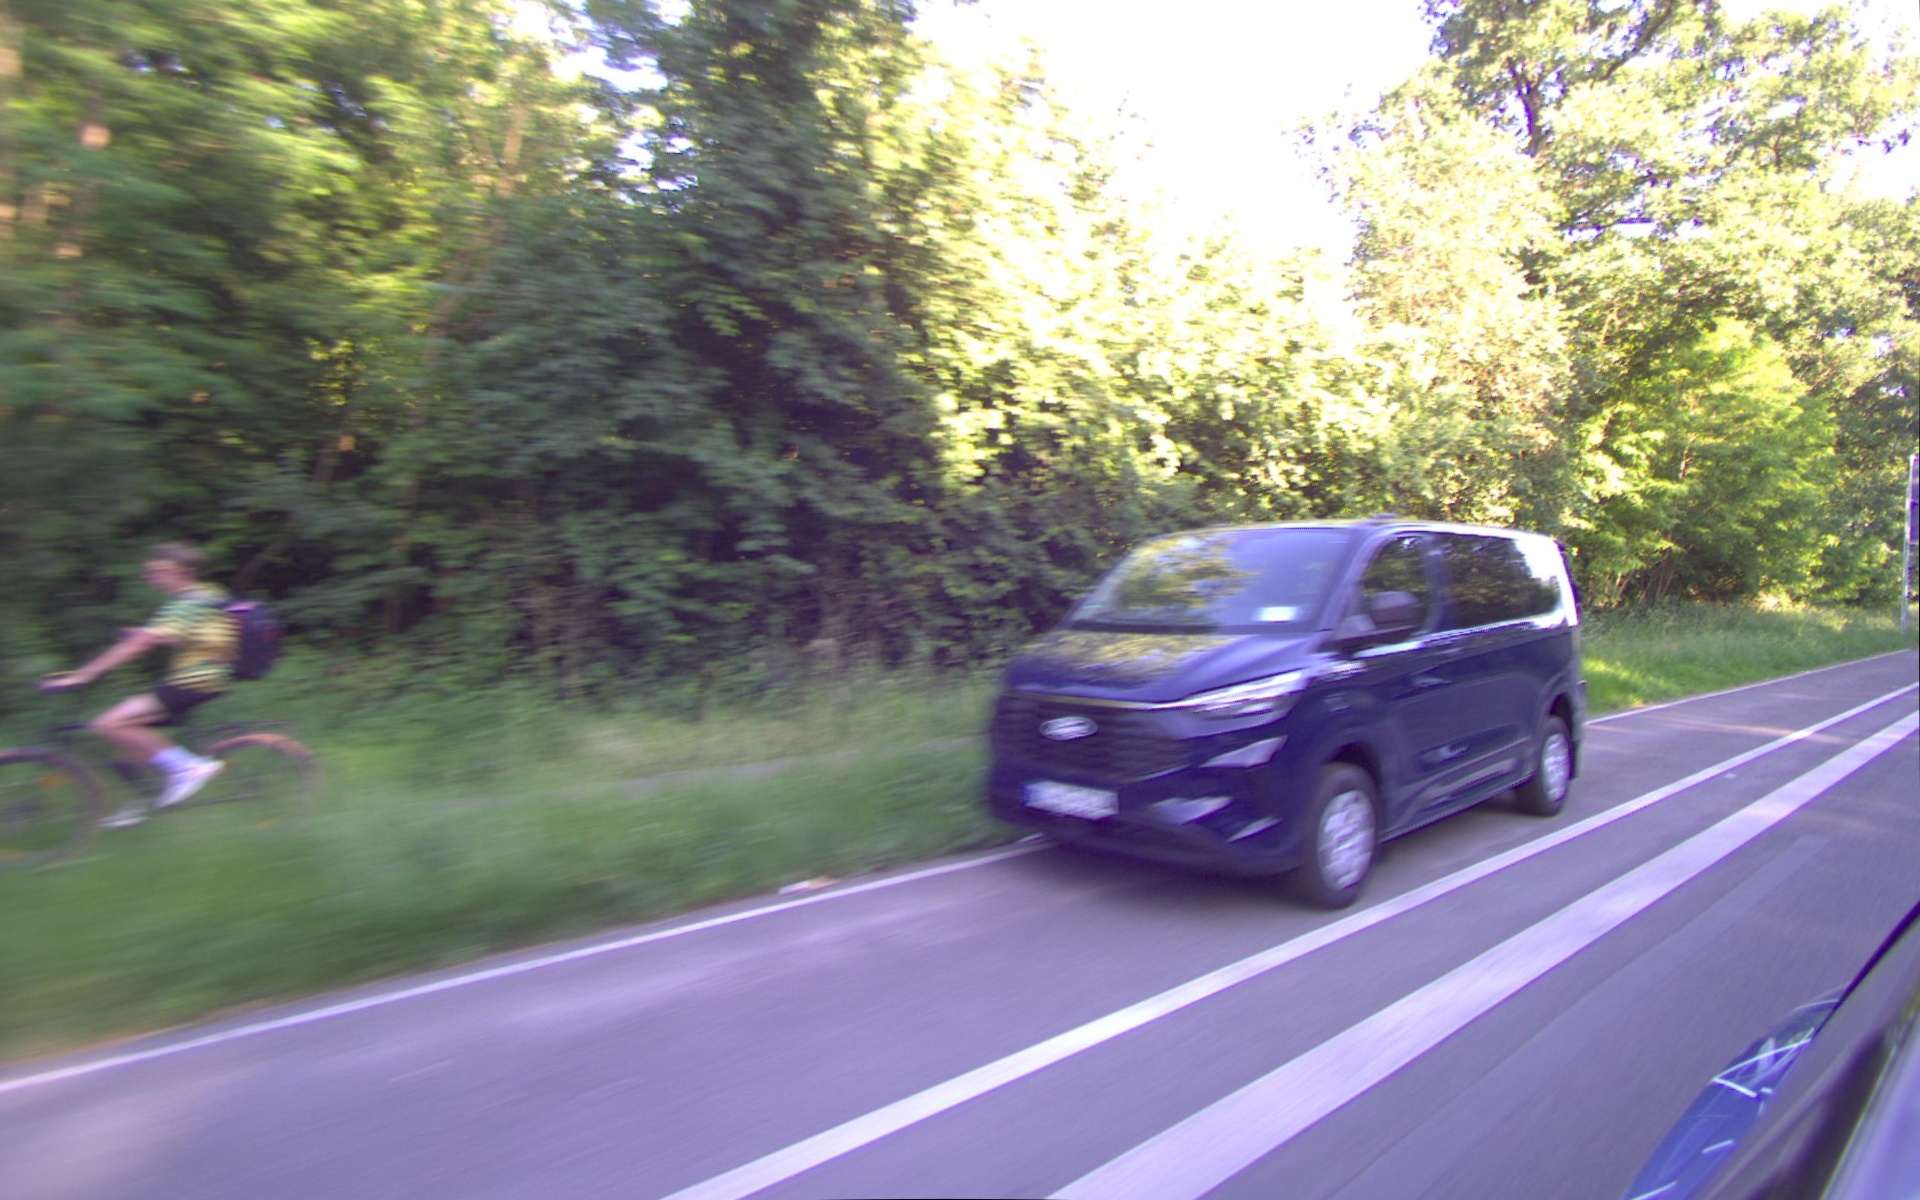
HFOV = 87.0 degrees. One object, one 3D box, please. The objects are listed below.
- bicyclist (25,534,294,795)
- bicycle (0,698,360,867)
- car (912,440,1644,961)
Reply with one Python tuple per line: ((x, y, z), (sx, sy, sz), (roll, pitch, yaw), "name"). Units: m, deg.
((-4.553, 0.324, 5.805), (1.155, 1.341, 0.612), (0, 1, -41), "bicyclist")
((-4.608, 1.001, 5.785), (1.961, 0.701, 0.592), (0, 1, -41), "bicycle")
((2.290, 0.390, 6.394), (4.950, 2.039, 2.117), (0, 0, -40), "car")
